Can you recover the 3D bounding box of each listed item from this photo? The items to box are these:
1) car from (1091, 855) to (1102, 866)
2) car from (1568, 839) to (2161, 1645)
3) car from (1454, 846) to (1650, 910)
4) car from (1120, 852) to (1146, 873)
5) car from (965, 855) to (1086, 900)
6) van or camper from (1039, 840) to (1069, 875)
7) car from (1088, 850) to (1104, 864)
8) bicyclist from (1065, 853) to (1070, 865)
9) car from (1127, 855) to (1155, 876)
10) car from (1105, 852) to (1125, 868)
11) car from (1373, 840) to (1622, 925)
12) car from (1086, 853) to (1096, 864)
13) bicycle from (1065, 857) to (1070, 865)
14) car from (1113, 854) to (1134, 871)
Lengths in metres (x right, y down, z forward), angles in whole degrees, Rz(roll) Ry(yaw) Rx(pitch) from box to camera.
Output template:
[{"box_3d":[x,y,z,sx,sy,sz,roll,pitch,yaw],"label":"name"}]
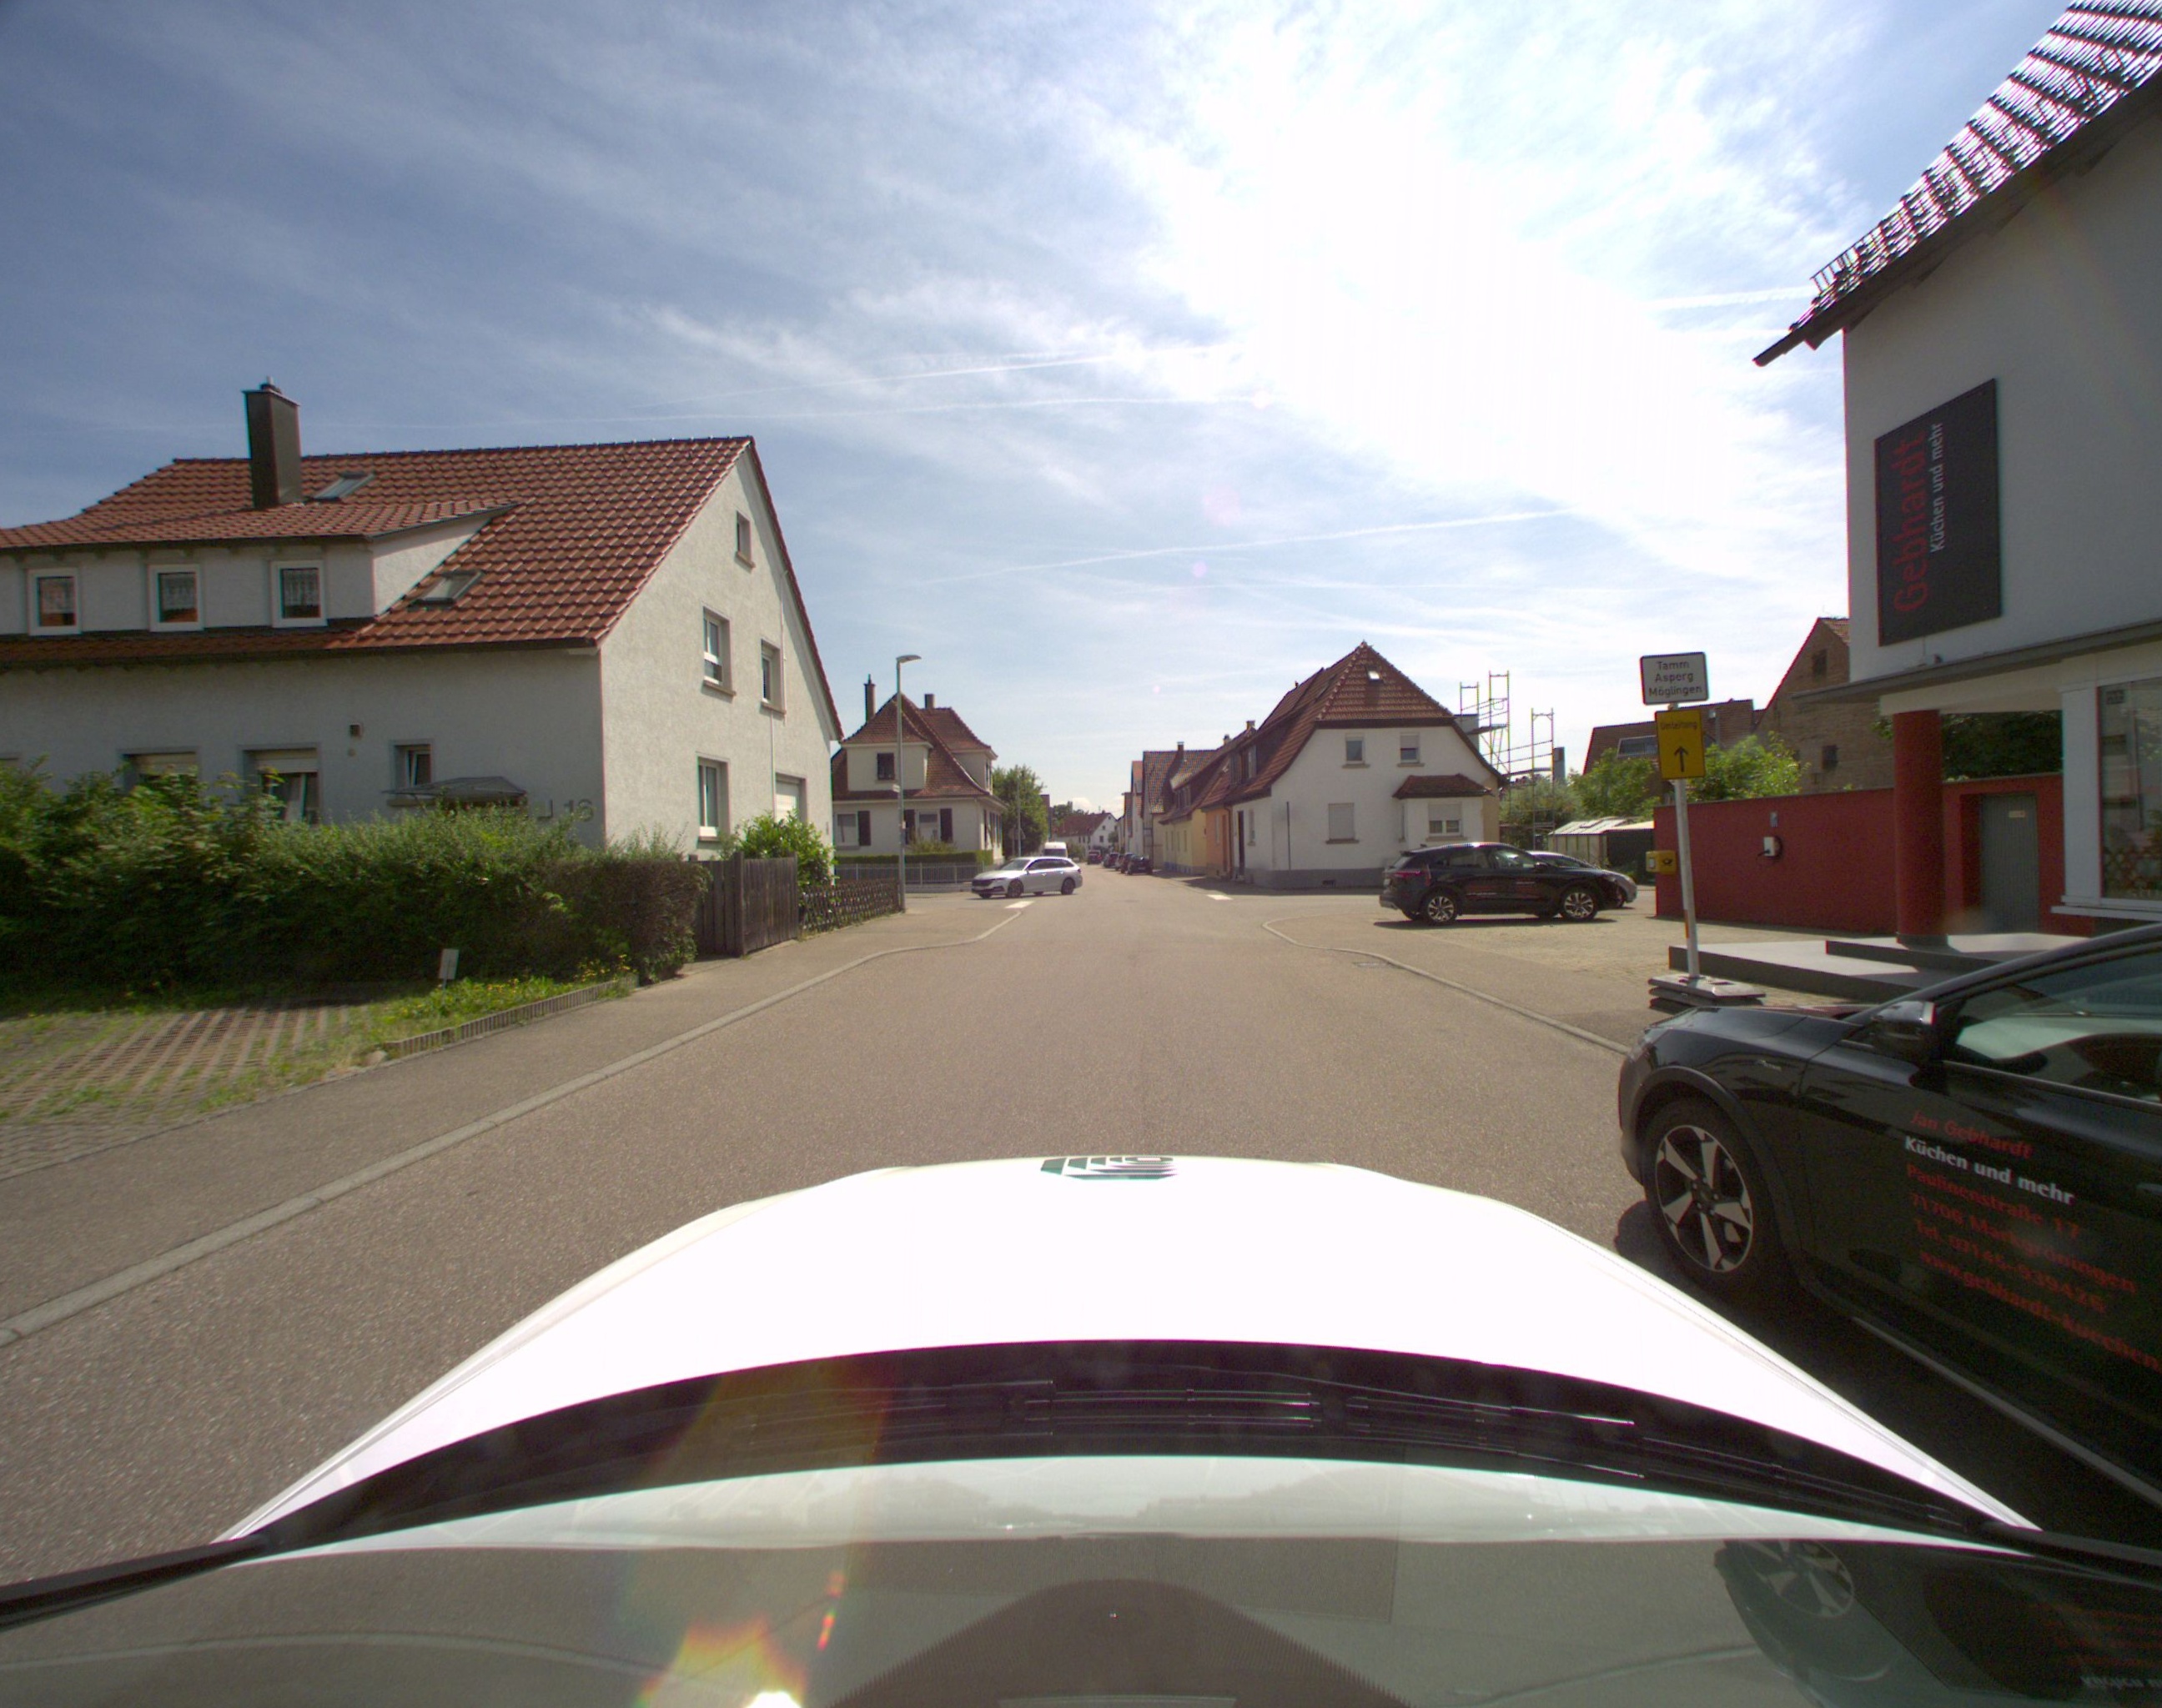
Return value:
[{"box_3d":[2.294,0.941,122.099,1.509,1.567,3.186,-1,0,3],"label":"car"},{"box_3d":[2.915,0.734,1.346,1.754,1.527,4.409,0,0,3],"label":"car"},{"box_3d":[11.885,0.596,20.776,3.965,1.504,1.698,-1,0,7],"label":"car"},{"box_3d":[4.058,0.650,64.131,1.723,1.600,4.252,-1,0,0],"label":"car"},{"box_3d":[-1.925,0.806,29.665,1.736,1.438,4.617,-1,0,38],"label":"car"},{"box_3d":[-2.029,0.228,63.744,2.178,2.571,6.804,-1,0,-1],"label":"van or camper"},{"box_3d":[2.523,0.511,136.353,2.118,2.158,4.743,-2,0,5],"label":"car"},{"box_3d":[-2.031,0.691,123.987,0.711,1.799,0.941,-1,0,-3],"label":"bicyclist"},{"box_3d":[4.263,0.800,58.357,1.607,1.431,3.750,-1,0,-3],"label":"car"},{"box_3d":[3.731,0.689,91.096,1.871,1.700,4.179,-1,0,-3],"label":"car"},{"box_3d":[8.567,0.577,17.091,4.270,1.653,1.852,-1,0,7],"label":"car"},{"box_3d":[1.572,0.733,126.057,1.509,1.624,3.186,-1,0,3],"label":"car"},{"box_3d":[-2.030,1.098,123.843,0.668,1.132,2.187,-1,0,-2],"label":"bicycle"},{"box_3d":[3.937,0.752,76.066,1.670,1.559,3.037,-1,0,-3],"label":"car"}]
